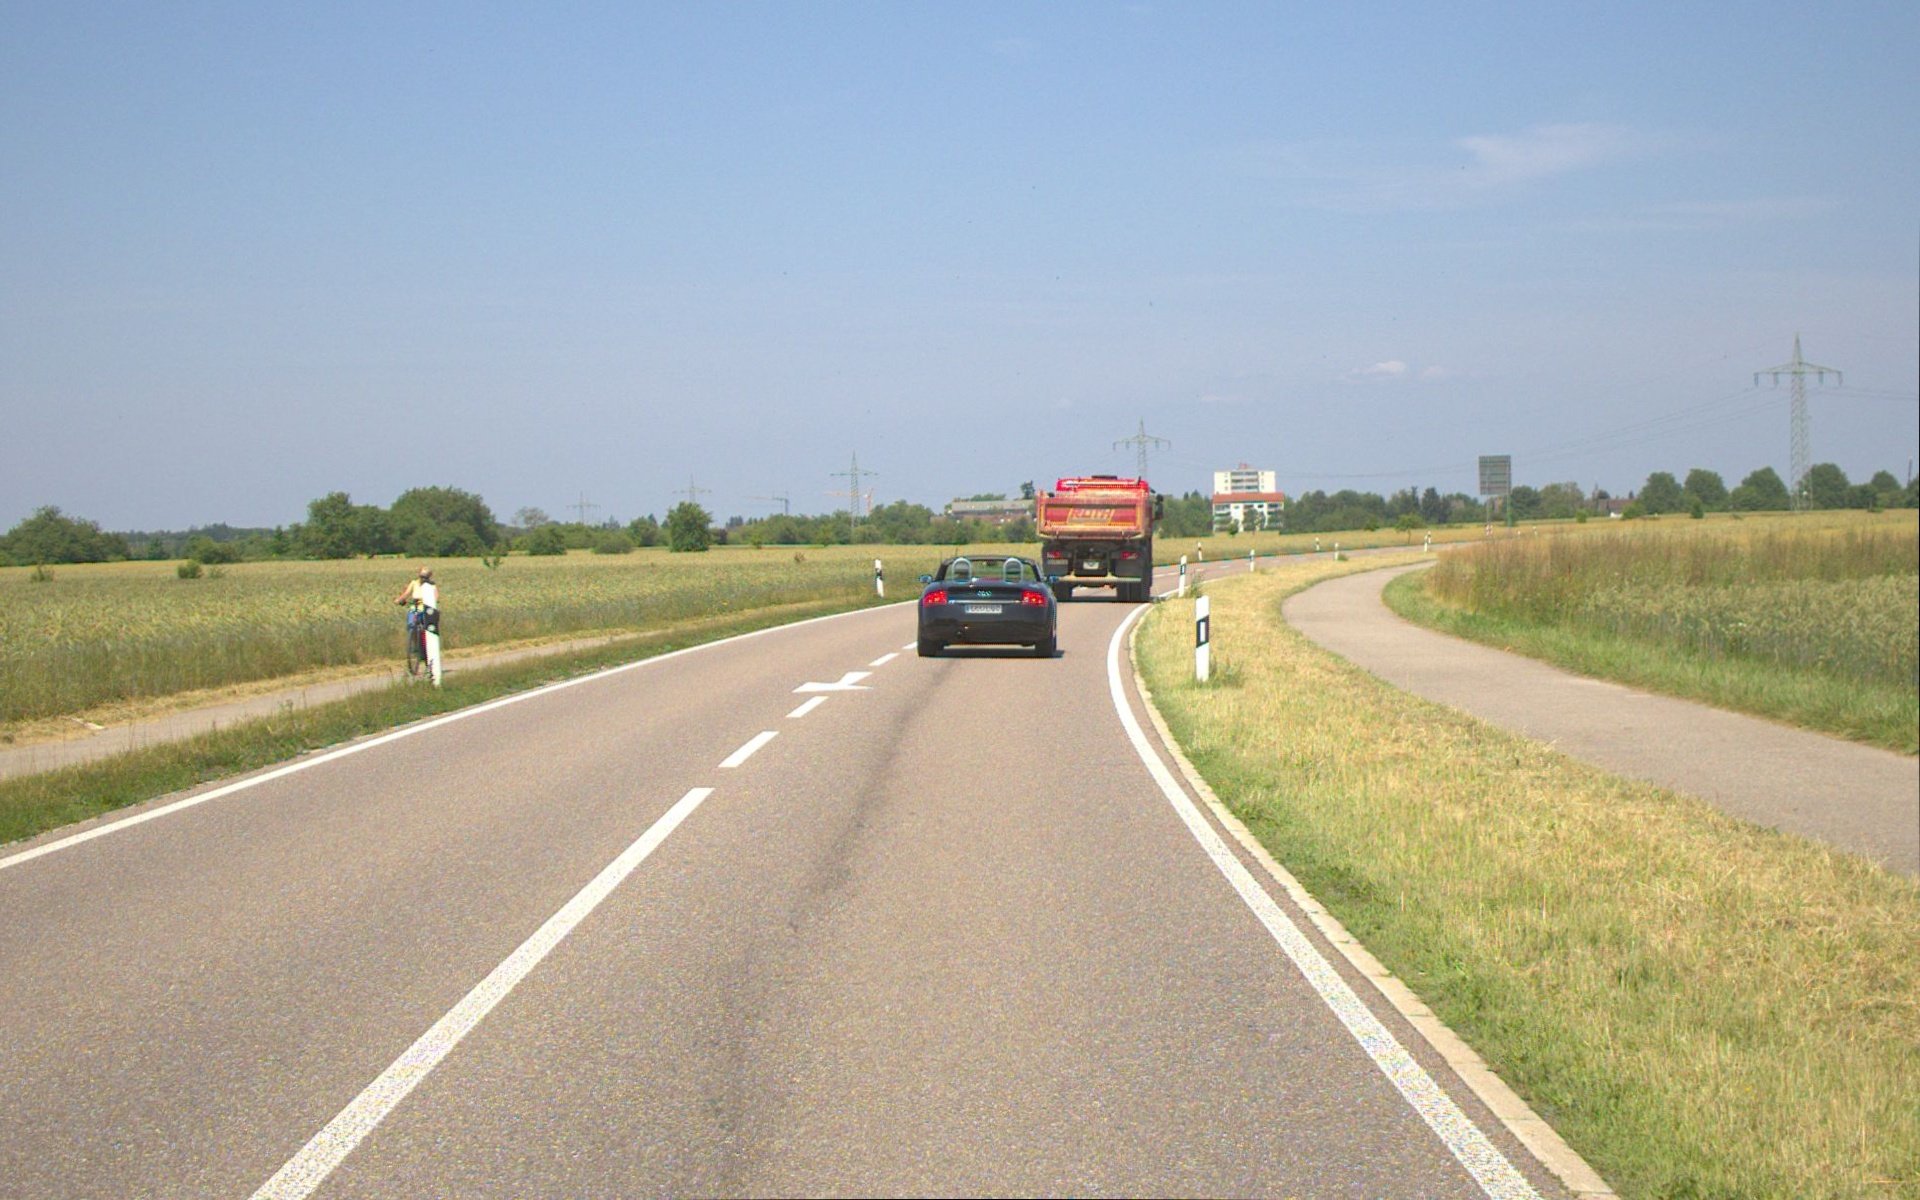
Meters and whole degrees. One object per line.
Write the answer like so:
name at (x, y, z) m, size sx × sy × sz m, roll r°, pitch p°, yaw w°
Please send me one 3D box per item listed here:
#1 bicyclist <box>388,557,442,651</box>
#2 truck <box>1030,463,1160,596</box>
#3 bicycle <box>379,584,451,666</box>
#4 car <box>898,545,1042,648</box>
bicyclist at (-8.441, 0.055, 53.258) m, size 0.664 × 1.433 × 0.823 m, roll 0°, pitch 1°, yaw 3°
truck at (3.358, -1.686, 83.868) m, size 2.938 × 3.078 × 7.195 m, roll 0°, pitch 1°, yaw 4°
bicycle at (-8.443, 0.374, 53.303) m, size 0.694 × 1.172 × 1.963 m, roll -2°, pitch 2°, yaw 2°
car at (0.169, -0.074, 44.886) m, size 1.744 × 1.275 × 4.000 m, roll 0°, pitch 1°, yaw 2°
